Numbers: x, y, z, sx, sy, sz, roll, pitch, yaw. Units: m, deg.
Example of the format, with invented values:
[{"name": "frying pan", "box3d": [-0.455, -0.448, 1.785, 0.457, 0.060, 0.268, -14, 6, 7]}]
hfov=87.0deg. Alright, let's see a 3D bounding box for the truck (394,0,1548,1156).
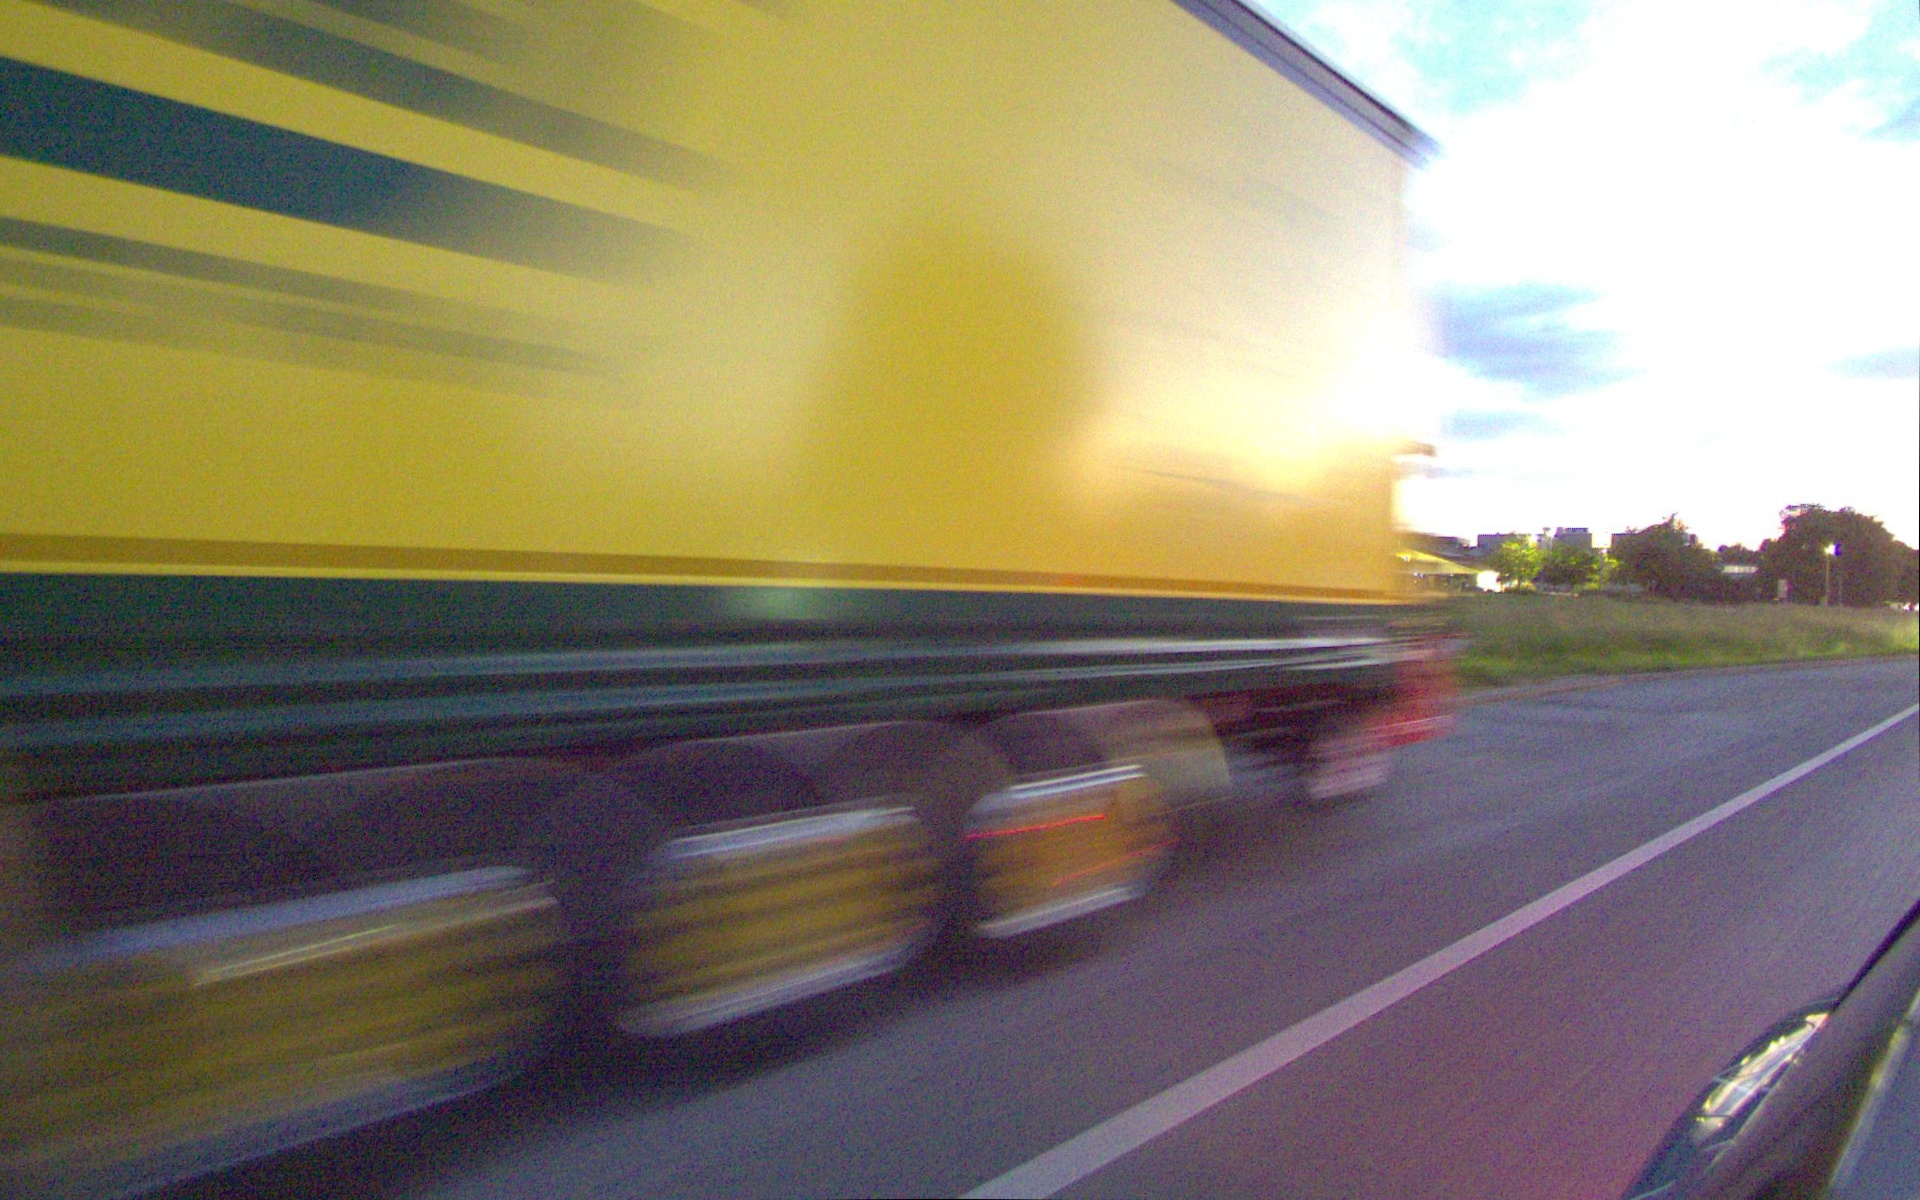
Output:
[{"name": "truck", "box3d": [0.642, -0.680, 5.459, 6.022, 4.123, 2.584, 1, -1, -41]}]
